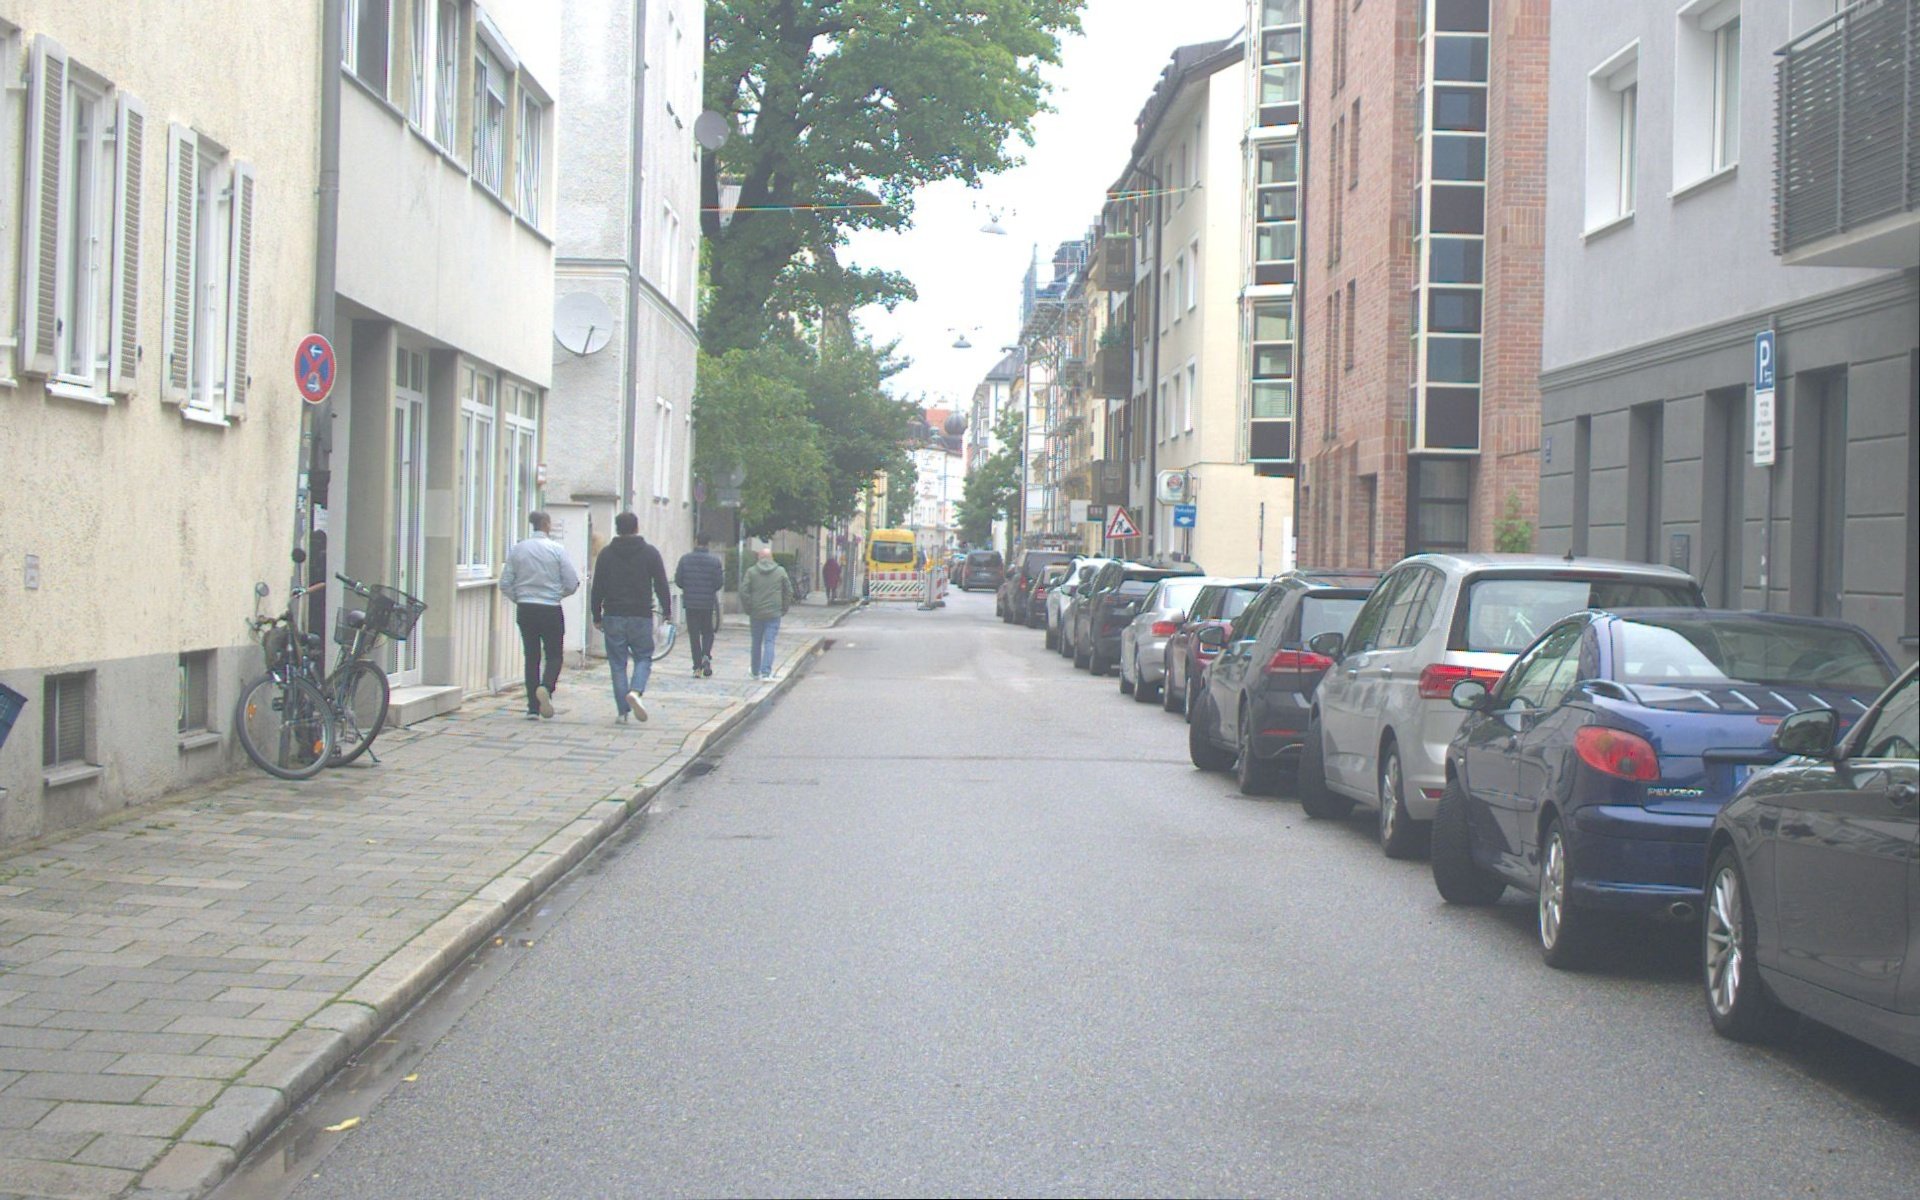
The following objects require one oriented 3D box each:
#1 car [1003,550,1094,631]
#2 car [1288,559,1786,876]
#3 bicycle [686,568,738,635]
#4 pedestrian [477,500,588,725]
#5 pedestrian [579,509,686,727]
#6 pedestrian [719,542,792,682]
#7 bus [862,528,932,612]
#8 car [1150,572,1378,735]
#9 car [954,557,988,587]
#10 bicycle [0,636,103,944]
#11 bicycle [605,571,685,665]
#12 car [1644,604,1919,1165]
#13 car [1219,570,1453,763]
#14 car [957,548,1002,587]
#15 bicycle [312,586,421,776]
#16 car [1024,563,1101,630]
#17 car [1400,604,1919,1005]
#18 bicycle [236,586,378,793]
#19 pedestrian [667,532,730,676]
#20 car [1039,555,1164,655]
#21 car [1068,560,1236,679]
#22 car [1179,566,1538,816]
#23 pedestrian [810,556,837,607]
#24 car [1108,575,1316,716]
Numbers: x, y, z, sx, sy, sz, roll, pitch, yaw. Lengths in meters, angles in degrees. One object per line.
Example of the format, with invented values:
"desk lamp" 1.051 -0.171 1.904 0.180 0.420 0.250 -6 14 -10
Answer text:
"car" 2.166 -0.258 85.364 1.801 1.814 4.001 5 1 -3
"car" 3.056 0.558 19.132 1.875 1.565 4.317 0 1 -2
"bicycle" -4.312 0.013 59.694 0.473 1.107 1.761 2 1 -18
"pedestrian" -3.530 0.099 28.462 0.718 1.790 0.917 3 0 0
"pedestrian" -2.725 0.147 28.654 0.718 1.759 0.838 3 0 0
"pedestrian" -2.506 0.142 42.160 0.753 1.653 0.906 3 0 -1
"bus" -2.374 -1.144 131.152 2.593 3.091 6.306 1 0 0
"car" 2.977 0.483 34.435 1.745 1.457 4.150 2 1 -2
"car" 0.624 -1.570 191.443 1.801 1.608 4.000 2 1 0
"bicycle" -3.610 0.637 12.263 0.703 0.981 1.823 6 0 -5
"bicycle" -4.137 0.227 45.084 0.641 1.213 1.665 1 0 -20
"car" 3.315 0.741 9.677 1.799 1.381 4.349 1 1 -1
"car" 3.181 0.530 29.568 1.521 1.506 3.202 2 1 -2
"car" 0.919 -1.558 163.147 1.801 1.706 3.827 5 1 -2
"bicycle" -3.804 0.501 22.120 0.561 1.155 1.721 2 0 -7
"car" 2.384 -0.109 81.005 1.624 1.482 3.808 2 1 0
"car" 2.988 0.734 14.212 1.808 1.358 3.945 1 1 0
"bicycle" -3.860 0.507 20.404 0.458 1.155 1.605 4 0 0
"pedestrian" -3.189 0.041 41.979 0.612 1.707 0.823 3 0 -1
"car" 2.405 0.060 59.268 1.748 1.624 4.197 1 1 -3
"car" 2.674 0.236 48.881 1.885 1.550 4.392 2 1 -3
"car" 2.672 0.558 24.016 1.839 1.523 4.293 2 1 -2
"pedestrian" -4.000 -0.536 100.703 0.756 1.486 0.831 1 0 0
"car" 2.792 0.471 39.034 1.836 1.412 4.601 2 1 -2
